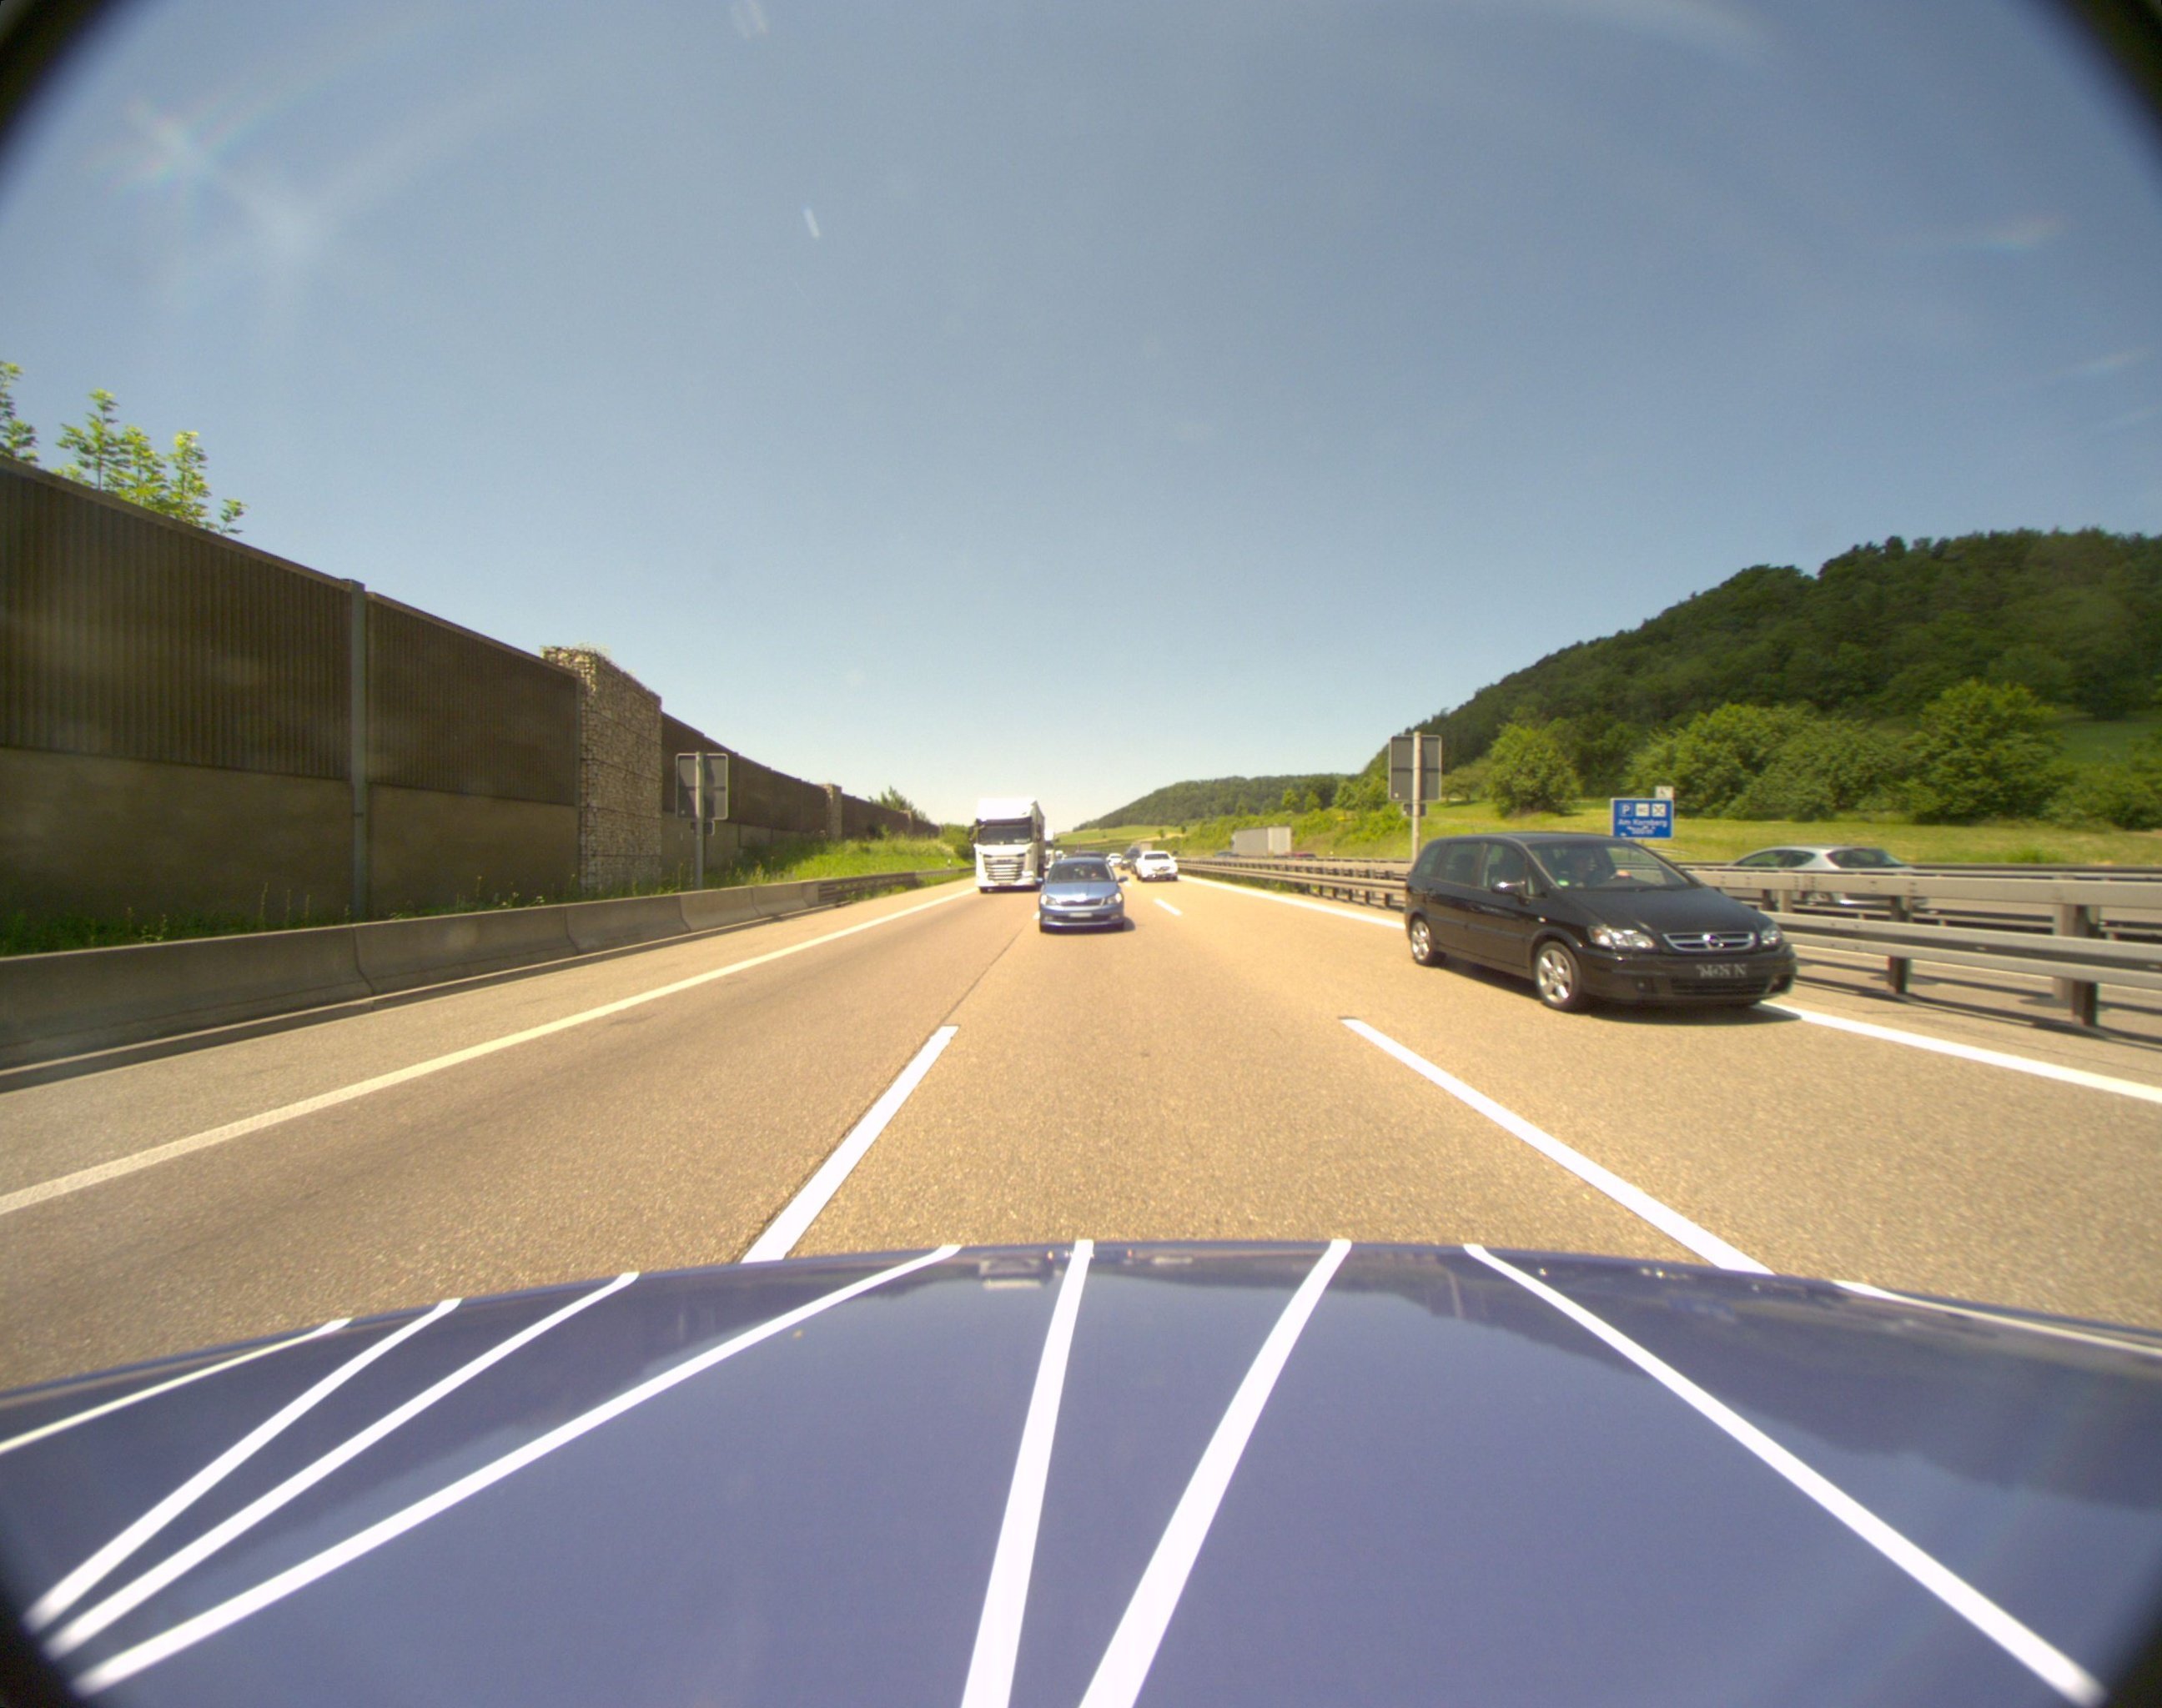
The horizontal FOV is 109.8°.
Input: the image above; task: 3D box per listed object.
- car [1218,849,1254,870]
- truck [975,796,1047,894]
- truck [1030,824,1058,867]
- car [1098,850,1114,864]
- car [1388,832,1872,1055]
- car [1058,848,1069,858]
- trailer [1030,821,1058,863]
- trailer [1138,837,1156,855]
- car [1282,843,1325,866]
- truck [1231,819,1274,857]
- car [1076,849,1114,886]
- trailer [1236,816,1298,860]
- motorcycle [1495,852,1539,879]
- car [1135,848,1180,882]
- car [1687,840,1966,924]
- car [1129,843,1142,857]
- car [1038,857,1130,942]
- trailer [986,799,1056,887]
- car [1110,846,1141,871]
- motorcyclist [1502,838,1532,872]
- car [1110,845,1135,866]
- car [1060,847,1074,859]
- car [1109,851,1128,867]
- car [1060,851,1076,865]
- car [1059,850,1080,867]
[{"bbox_3d":[12.072,0.399,59.475,1.754,1.459,4.627,-1,0,-1],"label":"car"},{"bbox_3d":[-3.021,-0.403,34.321,2.484,3.954,6.380,-1,1,1],"label":"truck"},{"bbox_3d":[-3.735,-0.837,76.076,2.532,4.065,6.076,-2,1,-4],"label":"truck"},{"bbox_3d":[3.242,0.370,98.328,1.998,1.702,3.999,-2,1,1],"label":"car"},{"bbox_3d":[4.997,0.653,7.886,1.805,1.625,4.445,-1,0,0],"label":"car"},{"bbox_3d":[-3.419,-0.209,145.002,1.999,1.702,3.998,-2,1,-2],"label":"car"},{"bbox_3d":[-4.137,-1.260,82.063,2.545,4.085,13.621,-2,1,-4],"label":"trailer"},{"bbox_3d":[15.441,-1.913,178.550,2.862,4.167,13.612,-2,1,0],"label":"trailer"},{"bbox_3d":[16.148,0.025,55.469,1.874,1.608,4.355,-1,0,1],"label":"car"},{"bbox_3d":[19.595,-1.801,87.068,3.286,4.124,6.954,-2,1,0],"label":"truck"},{"bbox_3d":[0.638,0.612,37.132,1.737,1.674,4.197,-1,0,0],"label":"car"},{"bbox_3d":[19.637,-1.669,81.202,3.255,4.180,12.997,-2,1,0],"label":"trailer"},{"bbox_3d":[19.556,0.507,34.104,0.719,1.143,2.129,-1,1,-1],"label":"motorcycle"},{"bbox_3d":[4.015,0.539,40.434,1.998,1.612,4.000,-2,1,1],"label":"car"},{"bbox_3d":[15.415,0.502,16.085,1.998,1.488,3.999,-2,1,1],"label":"car"},{"bbox_3d":[11.760,-0.952,163.992,2.161,2.846,6.398,-2,1,0],"label":"car"},{"bbox_3d":[-0.035,0.836,16.260,1.660,1.481,4.652,-1,0,-2],"label":"car"},{"bbox_3d":[-2.937,-0.549,41.425,2.484,3.954,13.654,-1,0,1],"label":"trailer"},{"bbox_3d":[3.185,0.303,55.288,1.998,1.692,3.999,-2,1,1],"label":"car"},{"bbox_3d":[19.541,0.030,34.095,0.846,1.492,0.838,-1,1,-1],"label":"motorcyclist"},{"bbox_3d":[3.691,0.114,68.438,1.998,1.702,3.999,-2,1,1],"label":"car"},{"bbox_3d":[-2.116,-0.182,115.331,1.999,1.702,3.998,-2,1,-2],"label":"car"},{"bbox_3d":[4.241,0.570,87.325,1.998,1.702,3.999,-2,1,1],"label":"car"},{"bbox_3d":[-1.747,0.483,102.816,1.999,1.702,3.998,-2,1,-2],"label":"car"},{"bbox_3d":[-1.174,0.446,78.920,1.999,1.702,3.998,-2,1,-2],"label":"car"}]
